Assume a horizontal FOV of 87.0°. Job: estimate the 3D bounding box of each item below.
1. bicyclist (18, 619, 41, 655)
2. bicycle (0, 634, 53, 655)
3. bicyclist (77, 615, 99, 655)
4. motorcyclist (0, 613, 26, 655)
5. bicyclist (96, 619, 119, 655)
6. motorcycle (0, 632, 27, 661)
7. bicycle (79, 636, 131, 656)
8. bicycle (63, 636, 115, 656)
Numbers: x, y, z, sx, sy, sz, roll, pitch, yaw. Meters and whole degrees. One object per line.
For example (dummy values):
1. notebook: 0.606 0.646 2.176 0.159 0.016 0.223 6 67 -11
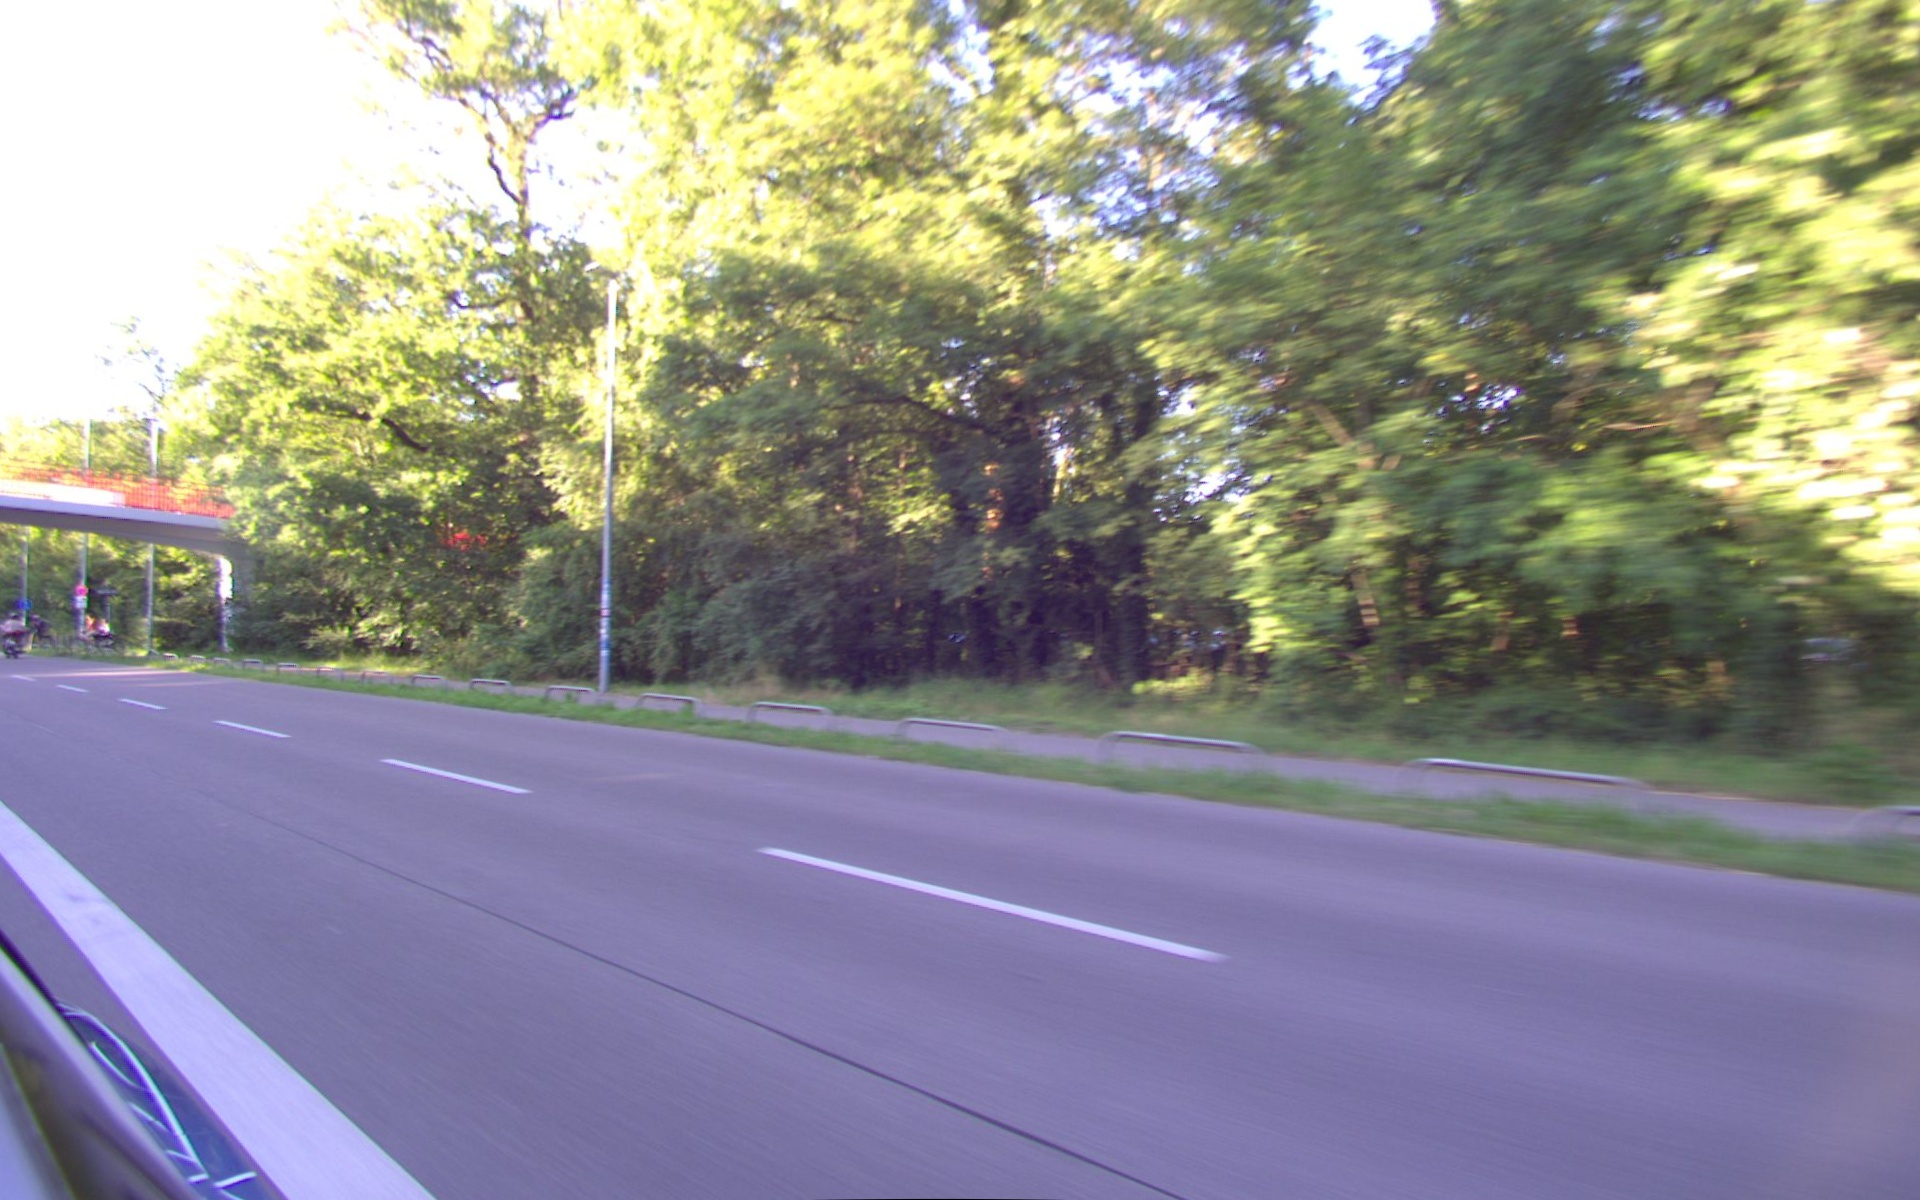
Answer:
1. bicyclist: -43.528 1.707 47.334 0.786 1.656 0.842 0 -2 -43
2. bicycle: -43.613 2.082 47.250 1.903 0.941 0.825 1 -2 -43
3. bicyclist: -42.700 1.720 49.565 0.786 1.915 0.818 1 -2 -43
4. motorcyclist: -34.882 1.233 37.191 0.671 1.517 0.717 -1 -1 39
5. bicyclist: -41.341 1.794 49.081 0.786 1.710 0.946 1 -2 -43
6. motorcycle: -34.802 1.699 37.106 2.075 1.003 0.630 -1 -1 40
7. bicycle: -41.439 2.220 49.056 1.903 0.941 0.825 1 -2 -43
8. bicycle: -42.675 2.245 49.583 1.903 0.941 0.825 2 -3 -43
